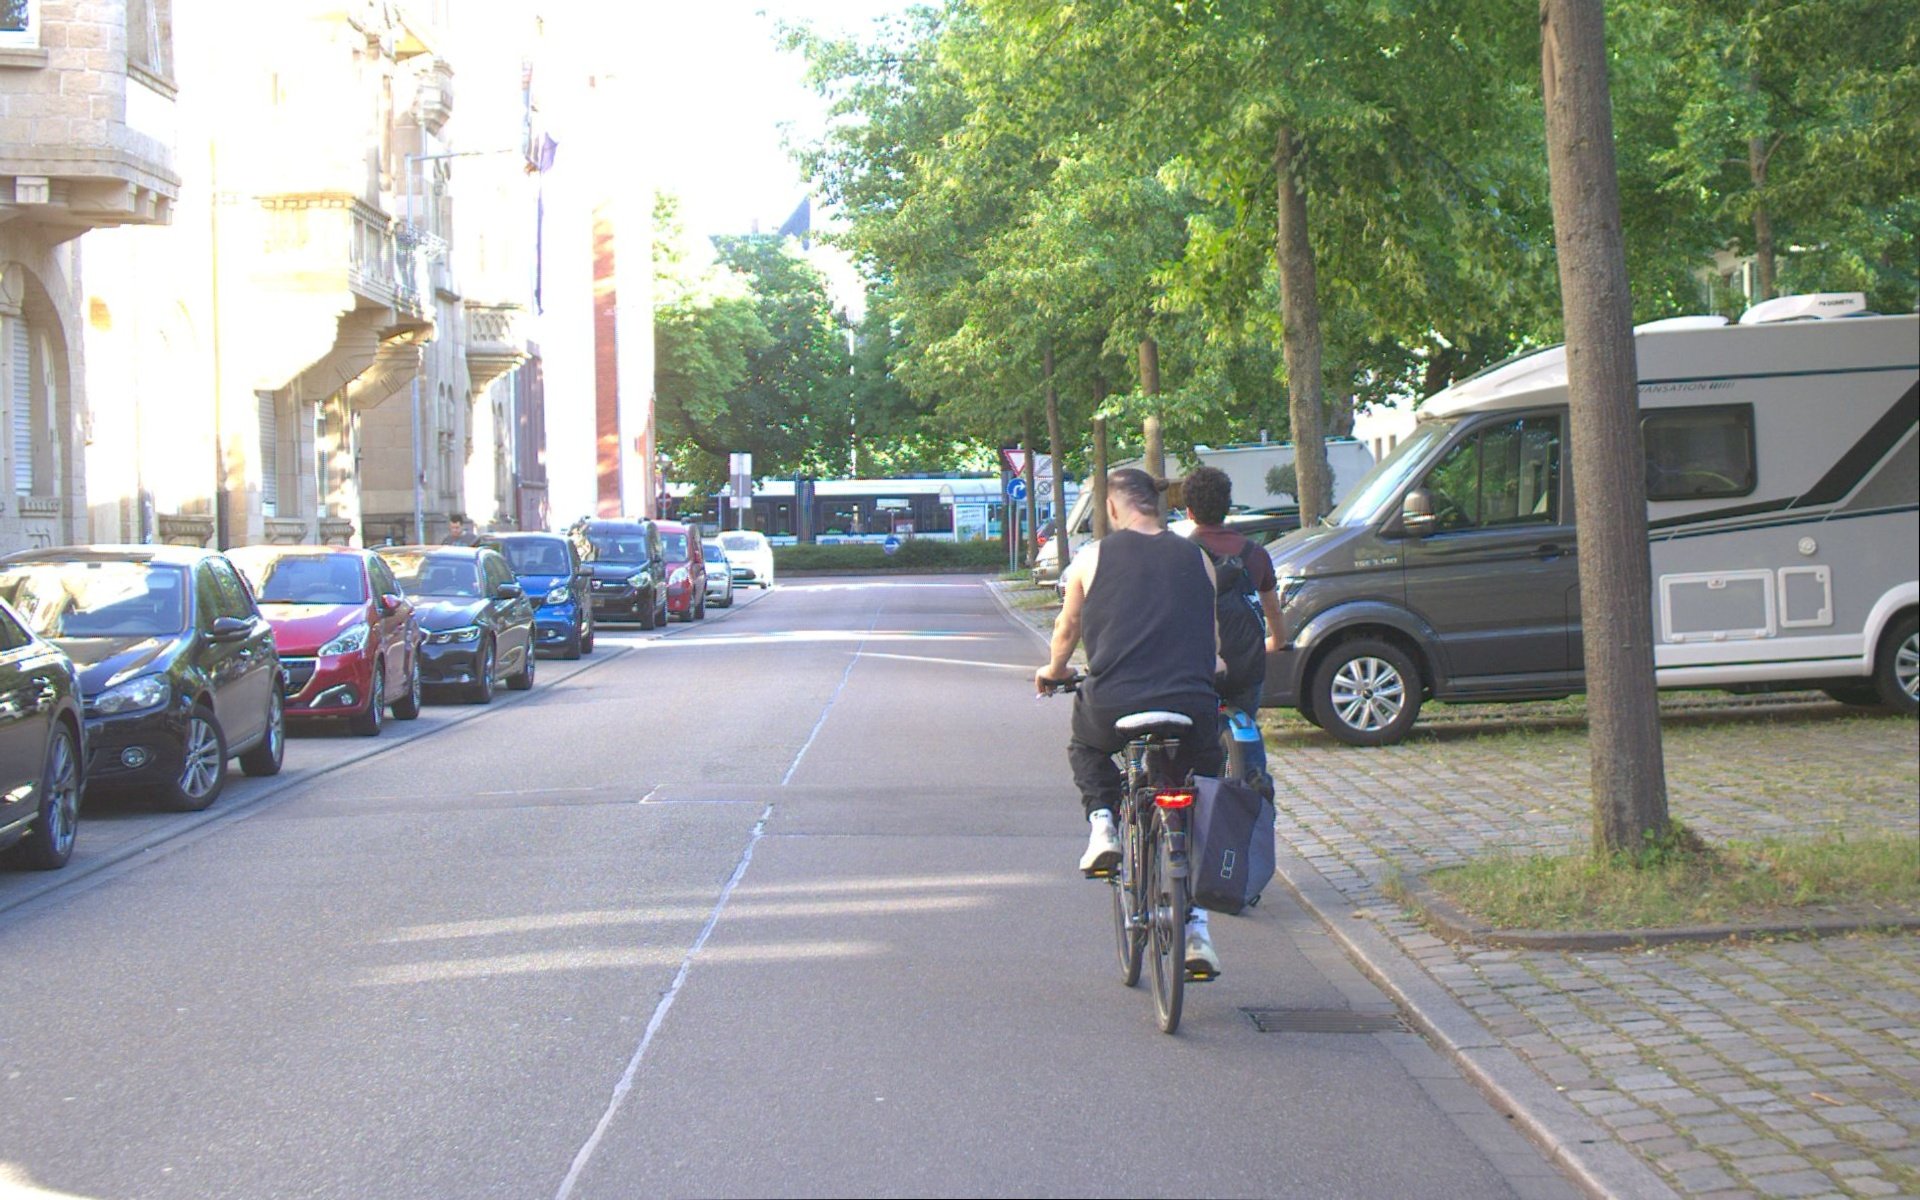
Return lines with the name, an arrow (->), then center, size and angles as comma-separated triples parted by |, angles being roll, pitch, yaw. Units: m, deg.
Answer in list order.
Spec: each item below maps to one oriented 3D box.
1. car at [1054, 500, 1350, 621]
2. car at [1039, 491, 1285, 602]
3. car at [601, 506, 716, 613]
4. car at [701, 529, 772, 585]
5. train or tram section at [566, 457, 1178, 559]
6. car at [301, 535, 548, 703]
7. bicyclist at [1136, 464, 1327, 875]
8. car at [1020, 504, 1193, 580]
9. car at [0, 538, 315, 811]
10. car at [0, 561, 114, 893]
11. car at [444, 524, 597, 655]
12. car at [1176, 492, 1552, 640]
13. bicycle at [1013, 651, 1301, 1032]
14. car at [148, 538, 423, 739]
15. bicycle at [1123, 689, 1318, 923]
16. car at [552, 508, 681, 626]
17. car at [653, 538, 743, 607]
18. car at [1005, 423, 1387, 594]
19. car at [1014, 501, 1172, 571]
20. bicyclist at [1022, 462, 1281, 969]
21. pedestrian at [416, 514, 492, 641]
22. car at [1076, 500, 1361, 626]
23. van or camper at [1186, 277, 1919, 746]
car -> 3.443, -0.554, 49.491 | 4.139, 1.594, 1.702 | -2, -1, 1
car -> 3.534, -0.945, 60.637 | 4.082, 1.644, 1.641 | -4, 1, -2
car -> -5.465, -0.767, 62.645 | 1.689, 1.819, 4.273 | 1, 2, 0
car -> -5.899, -1.151, 91.163 | 1.583, 1.371, 4.131 | 1, 2, 0
train or tram section -> -3.208, -3.492, 133.667 | 23.800, 3.696, 4.287 | 0, 1, -22
car -> -5.127, 0.128, 33.423 | 1.675, 1.425, 4.551 | 1, 2, 0
bicyclist -> 1.098, 0.264, 14.071 | 0.689, 1.621, 0.998 | 0, 1, -1
car -> 3.492, -1.384, 82.315 | 3.986, 1.797, 1.834 | 0, 1, -2
car -> -5.020, 0.382, 20.495 | 1.696, 1.448, 4.028 | -1, 1, -2
car -> -5.070, 0.552, 14.577 | 1.811, 1.422, 4.898 | 1, 1, -1
car -> -5.437, -0.158, 42.782 | 1.595, 1.484, 2.737 | 2, 2, -2
car -> 4.725, -0.387, 40.615 | 4.223, 1.594, 1.691 | -2, -1, 1
bicycle -> 0.589, 0.717, 10.973 | 0.737, 1.050, 1.956 | 1, 1, -2
car -> -5.310, 0.254, 27.459 | 1.628, 1.448, 3.838 | 0, 2, -3
bicycle -> 1.061, 0.827, 14.313 | 0.633, 0.796, 1.833 | -2, 2, -1
car -> -5.525, -0.573, 55.721 | 1.640, 1.777, 4.354 | 1, 2, 0
car -> -5.569, -0.605, 73.451 | 1.583, 1.339, 4.131 | 1, 2, 0
car -> 4.606, -1.804, 67.880 | 7.146, 2.968, 2.465 | -3, 1, -3
car -> 3.477, -1.679, 90.198 | 3.986, 1.797, 1.834 | 0, 1, -2
bicyclist -> 0.595, 0.350, 10.957 | 0.730, 1.542, 0.885 | 1, 0, -2
pedestrian -> -6.993, -0.319, 47.499 | 0.938, 1.736, 0.735 | 0, 1, 0
car -> 3.507, -0.487, 47.159 | 3.773, 1.594, 1.691 | -2, -1, 1
van or camper -> 5.220, -0.685, 22.965 | 7.147, 2.638, 2.464 | -4, 1, 2
